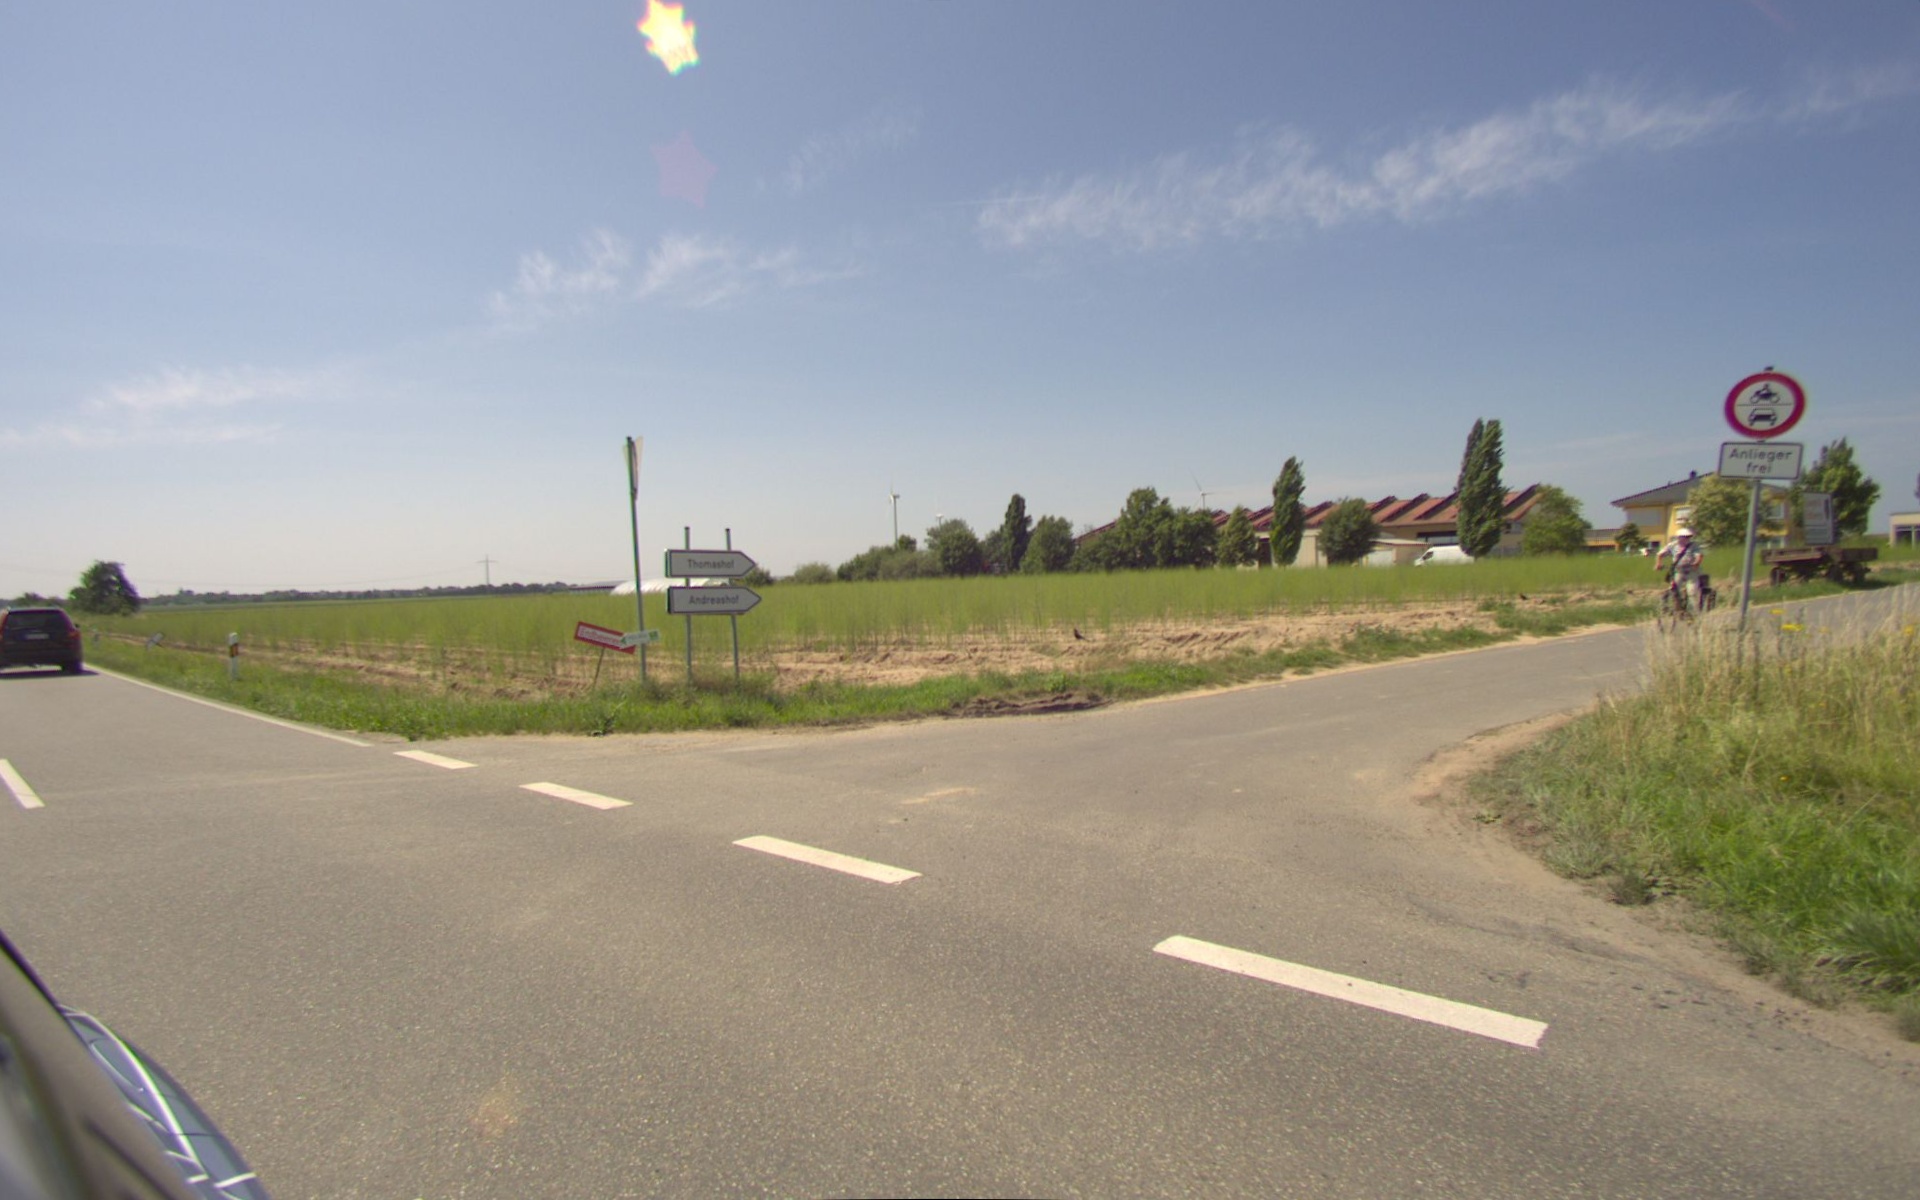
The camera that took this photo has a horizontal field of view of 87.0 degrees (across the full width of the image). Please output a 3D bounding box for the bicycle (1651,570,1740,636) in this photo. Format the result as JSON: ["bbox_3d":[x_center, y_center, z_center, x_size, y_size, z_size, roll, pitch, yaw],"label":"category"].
[{"bbox_3d":[12.535,0.032,17.217,1.894,0.999,0.684,-4,2,-37],"label":"bicycle"}]

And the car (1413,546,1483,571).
[{"bbox_3d":[44.931,-3.830,93.361,1.843,2.076,5.510,-4,2,-42],"label":"car"}]

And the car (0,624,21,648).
[{"bbox_3d":[-56.961,2.134,60.022,1.721,1.367,4.421,-2,0,-44],"label":"car"}]

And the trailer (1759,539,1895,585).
[{"bbox_3d":[23.970,-1.046,27.949,3.935,1.148,2.005,-2,1,-36],"label":"trailer"}]

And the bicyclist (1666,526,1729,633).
[{"bbox_3d":[12.548,-0.356,17.226,0.690,1.770,0.664,-3,2,-37],"label":"bicyclist"}]

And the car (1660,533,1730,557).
[{"bbox_3d":[54.096,-4.046,74.479,3.999,1.549,1.846,-1,2,42],"label":"car"}]

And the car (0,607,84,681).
[{"bbox_3d":[-24.643,1.119,26.819,1.911,1.765,5.208,-1,0,-44],"label":"car"}]
